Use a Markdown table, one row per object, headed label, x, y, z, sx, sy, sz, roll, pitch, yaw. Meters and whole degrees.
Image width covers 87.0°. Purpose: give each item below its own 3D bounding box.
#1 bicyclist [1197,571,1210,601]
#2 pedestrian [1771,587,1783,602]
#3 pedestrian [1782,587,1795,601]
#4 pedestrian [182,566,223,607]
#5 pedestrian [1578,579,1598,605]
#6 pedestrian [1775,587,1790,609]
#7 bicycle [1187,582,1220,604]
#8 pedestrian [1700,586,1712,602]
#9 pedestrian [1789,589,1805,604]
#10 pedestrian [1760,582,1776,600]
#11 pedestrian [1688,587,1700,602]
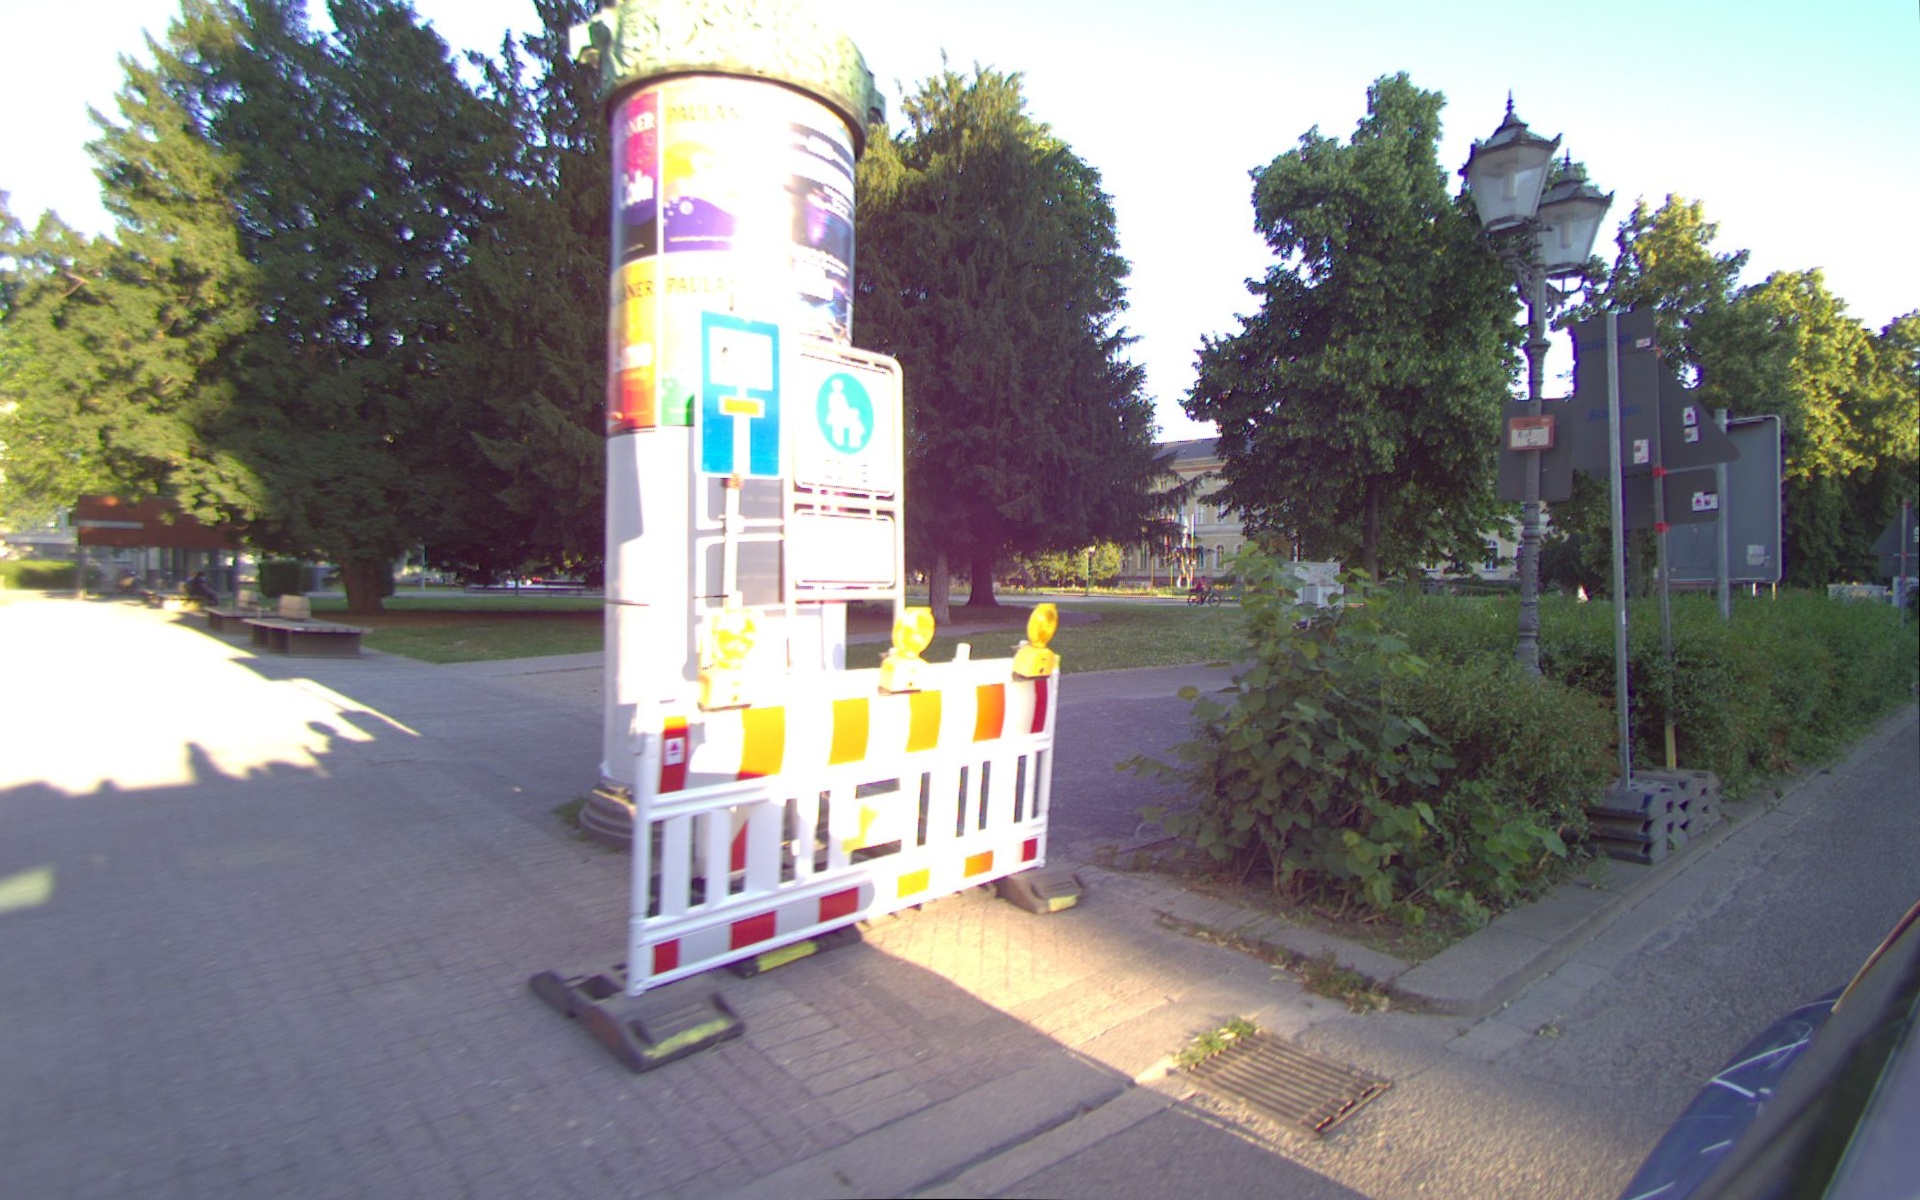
| label | x | y | z | sx | sy | sz | roll | pitch | yaw |
| --- | --- | --- | --- | --- | --- | --- | --- | --- | --- |
| bicyclist | 13.541 | -0.782 | 56.211 | 0.667 | 1.652 | 0.656 | 1 | 1 | 14 |
| pedestrian | 61.140 | -0.398 | 75.723 | 0.595 | 1.064 | 0.393 | 1 | 1 | 15 |
| pedestrian | 61.423 | -0.443 | 74.999 | 0.595 | 1.064 | 0.394 | 1 | 1 | 12 |
| pedestrian | -23.656 | -0.429 | 31.602 | 0.707 | 1.267 | 0.912 | 2 | 1 | 43 |
| pedestrian | 39.908 | -0.521 | 64.310 | 0.745 | 1.646 | 0.857 | 0 | 1 | -44 |
| pedestrian | 47.523 | -0.115 | 58.455 | 0.606 | 1.219 | 0.657 | 2 | 1 | 42 |
| bicycle | 13.538 | -0.382 | 56.212 | 1.748 | 1.191 | 0.563 | 1 | 1 | 14 |
| pedestrian | 57.460 | -0.500 | 77.915 | 0.594 | 1.217 | 0.394 | 1 | 1 | 8 |
| pedestrian | 62.309 | -0.281 | 75.341 | 0.784 | 1.064 | 0.394 | 1 | 1 | 13 |
| pedestrian | 66.745 | -0.735 | 83.615 | 0.742 | 1.462 | 0.815 | 1 | 1 | 14 |
| pedestrian | 56.526 | -0.393 | 77.960 | 0.593 | 1.123 | 0.395 | 1 | 1 | 3 |
